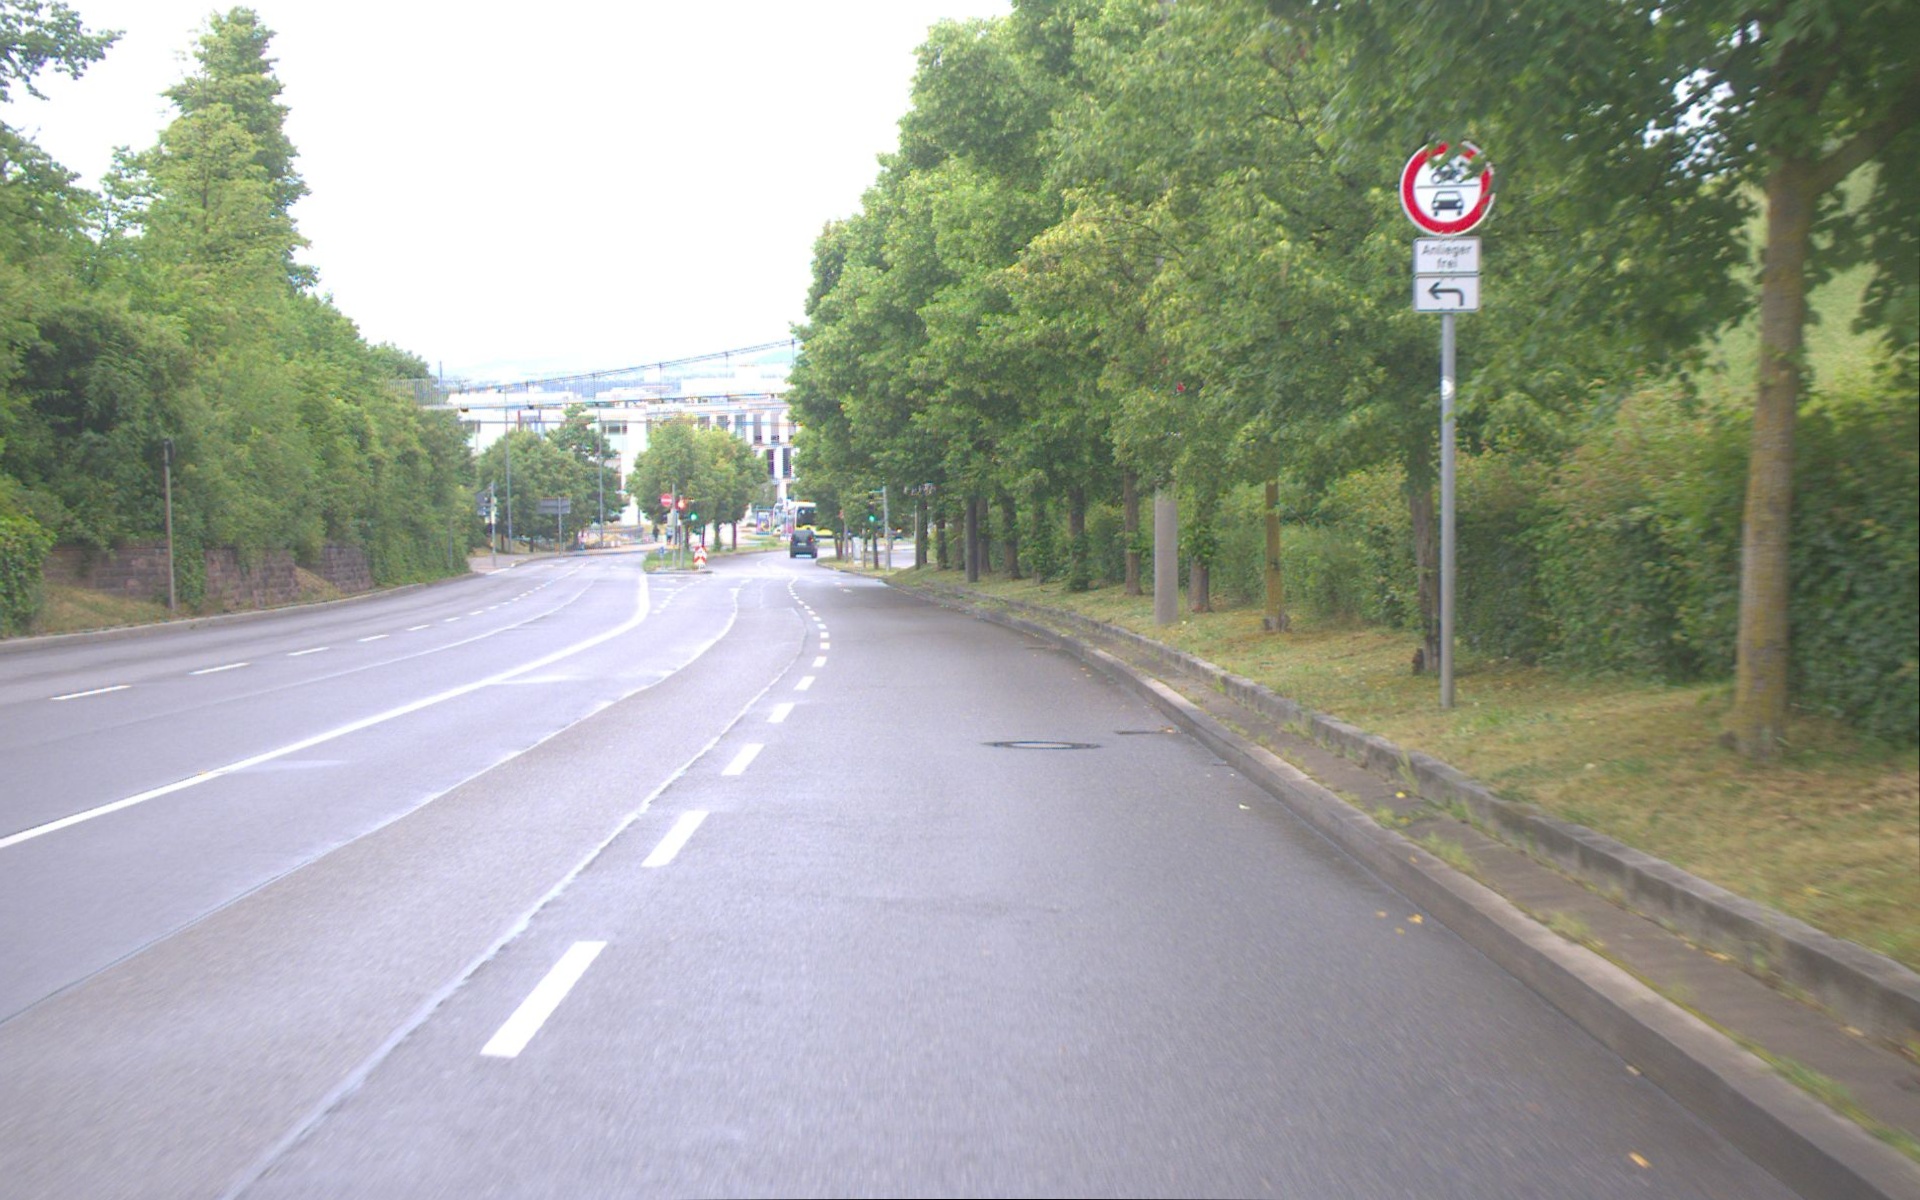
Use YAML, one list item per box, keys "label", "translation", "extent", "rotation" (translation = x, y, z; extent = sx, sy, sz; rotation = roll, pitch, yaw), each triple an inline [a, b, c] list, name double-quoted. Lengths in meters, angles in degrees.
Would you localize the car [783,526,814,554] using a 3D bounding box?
- label: "car"
  translation: [-10.698, -3.958, 227.687]
  extent: [1.849, 1.696, 3.793]
  rotation: [1, 0, 0]
